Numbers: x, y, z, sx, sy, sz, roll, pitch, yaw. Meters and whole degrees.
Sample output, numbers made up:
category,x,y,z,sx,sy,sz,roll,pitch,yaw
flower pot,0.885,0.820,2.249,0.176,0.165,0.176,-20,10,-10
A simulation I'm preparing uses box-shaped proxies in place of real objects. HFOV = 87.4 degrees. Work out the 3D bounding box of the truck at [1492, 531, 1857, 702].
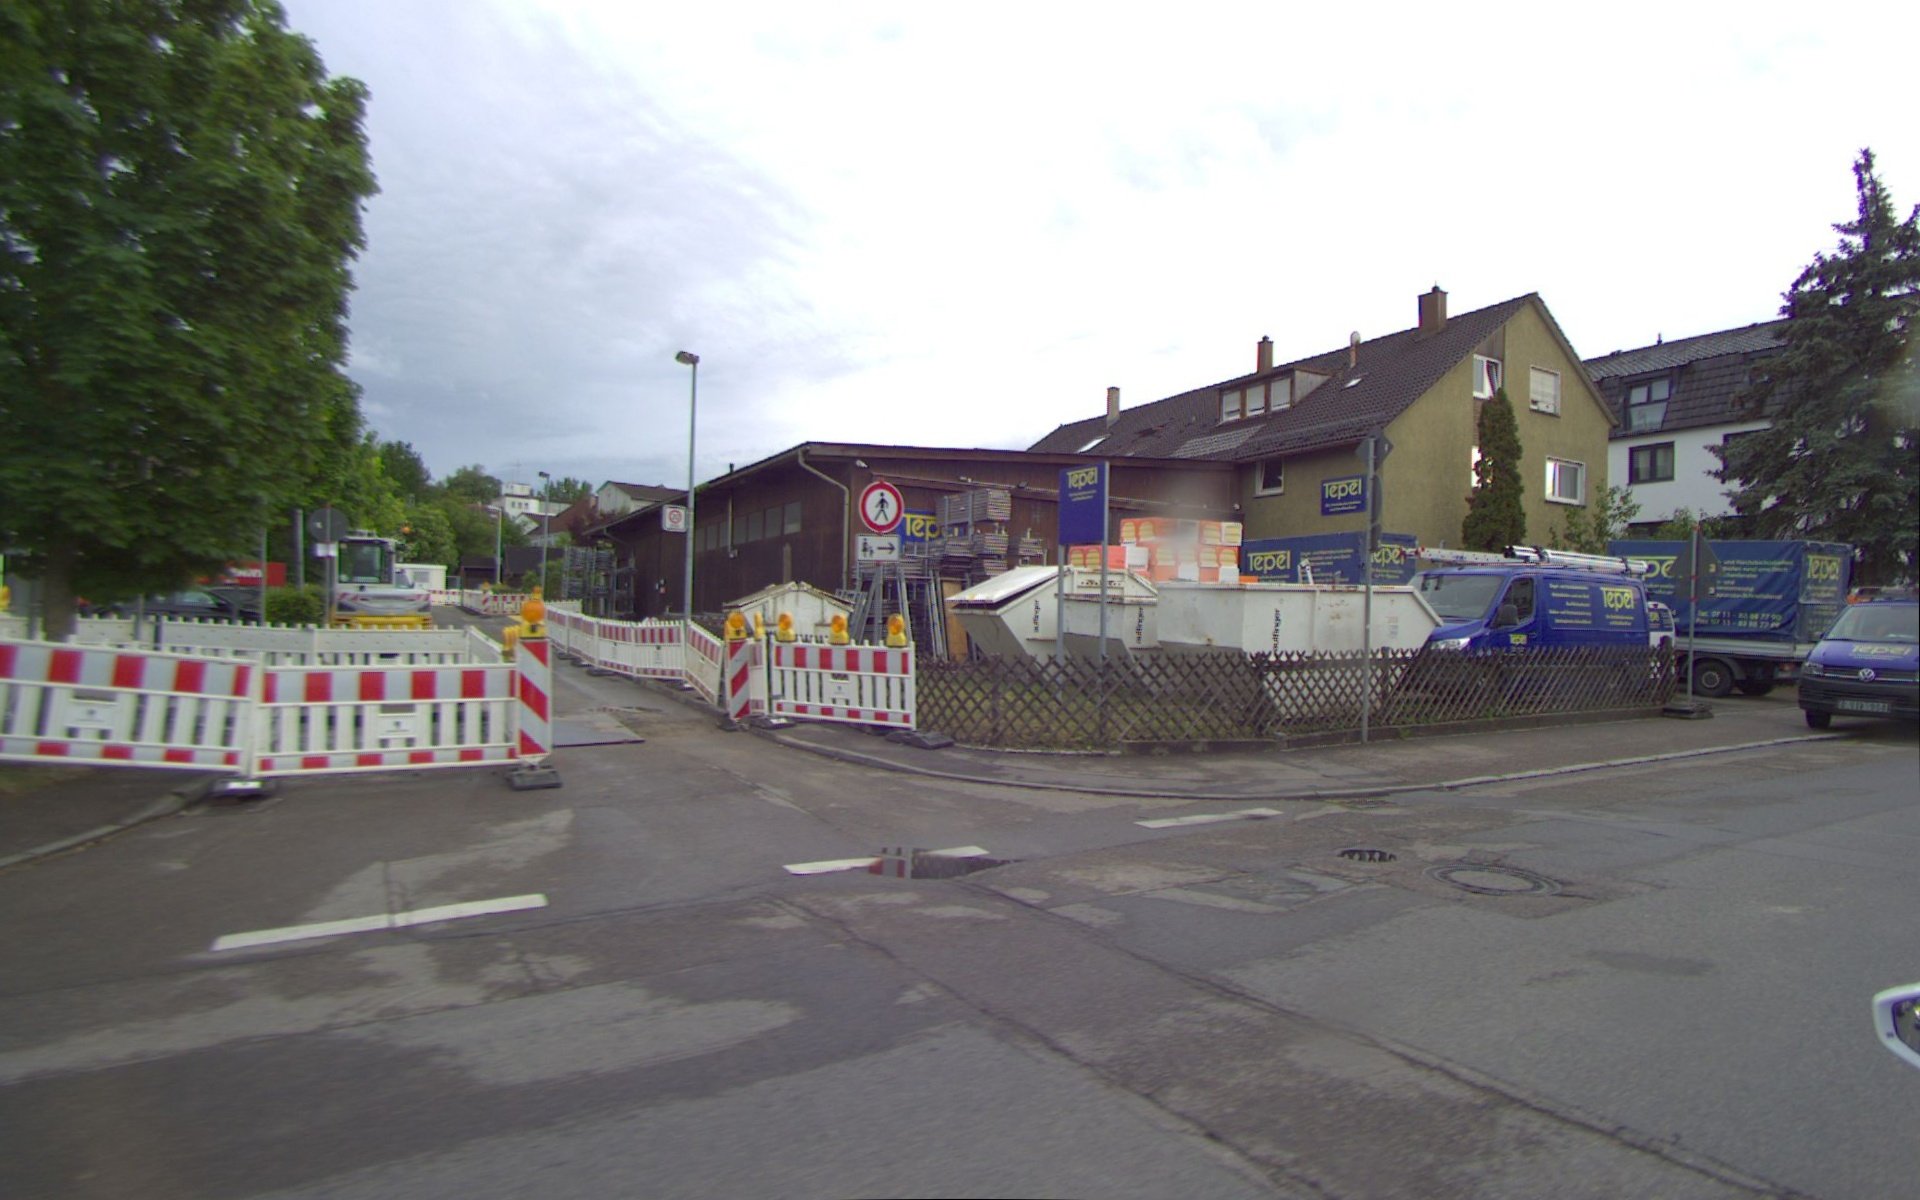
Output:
category,x,y,z,sx,sy,sz,roll,pitch,yaw
truck,14.937,0.308,21.515,2.419,3.114,5.887,1,0,-28

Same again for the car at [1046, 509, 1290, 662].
category,x,y,z,sx,sy,sz,roll,pitch,yaw
car,4.646,-0.233,22.259,5.180,3.053,2.066,1,0,-29

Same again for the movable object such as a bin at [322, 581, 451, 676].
category,x,y,z,sx,sy,sz,roll,pitch,yaw
movable object such as a bin,-11.920,0.531,20.799,1.981,1.783,3.398,1,0,-35

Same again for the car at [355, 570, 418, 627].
category,x,y,z,sx,sy,sz,roll,pitch,yaw
car,-24.819,-0.075,43.379,1.955,2.269,5.192,1,0,-34

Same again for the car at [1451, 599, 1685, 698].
category,x,y,z,sx,sy,sz,roll,pitch,yaw
car,12.242,0.905,20.459,1.756,1.773,3.694,1,0,-28

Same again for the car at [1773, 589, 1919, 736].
category,x,y,z,sx,sy,sz,roll,pitch,yaw
car,14.830,0.859,15.385,5.302,1.973,1.984,1,0,-31

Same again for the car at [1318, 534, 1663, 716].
category,x,y,z,sx,sy,sz,roll,pitch,yaw
car,8.930,0.415,16.718,6.127,2.601,2.066,1,0,-29
